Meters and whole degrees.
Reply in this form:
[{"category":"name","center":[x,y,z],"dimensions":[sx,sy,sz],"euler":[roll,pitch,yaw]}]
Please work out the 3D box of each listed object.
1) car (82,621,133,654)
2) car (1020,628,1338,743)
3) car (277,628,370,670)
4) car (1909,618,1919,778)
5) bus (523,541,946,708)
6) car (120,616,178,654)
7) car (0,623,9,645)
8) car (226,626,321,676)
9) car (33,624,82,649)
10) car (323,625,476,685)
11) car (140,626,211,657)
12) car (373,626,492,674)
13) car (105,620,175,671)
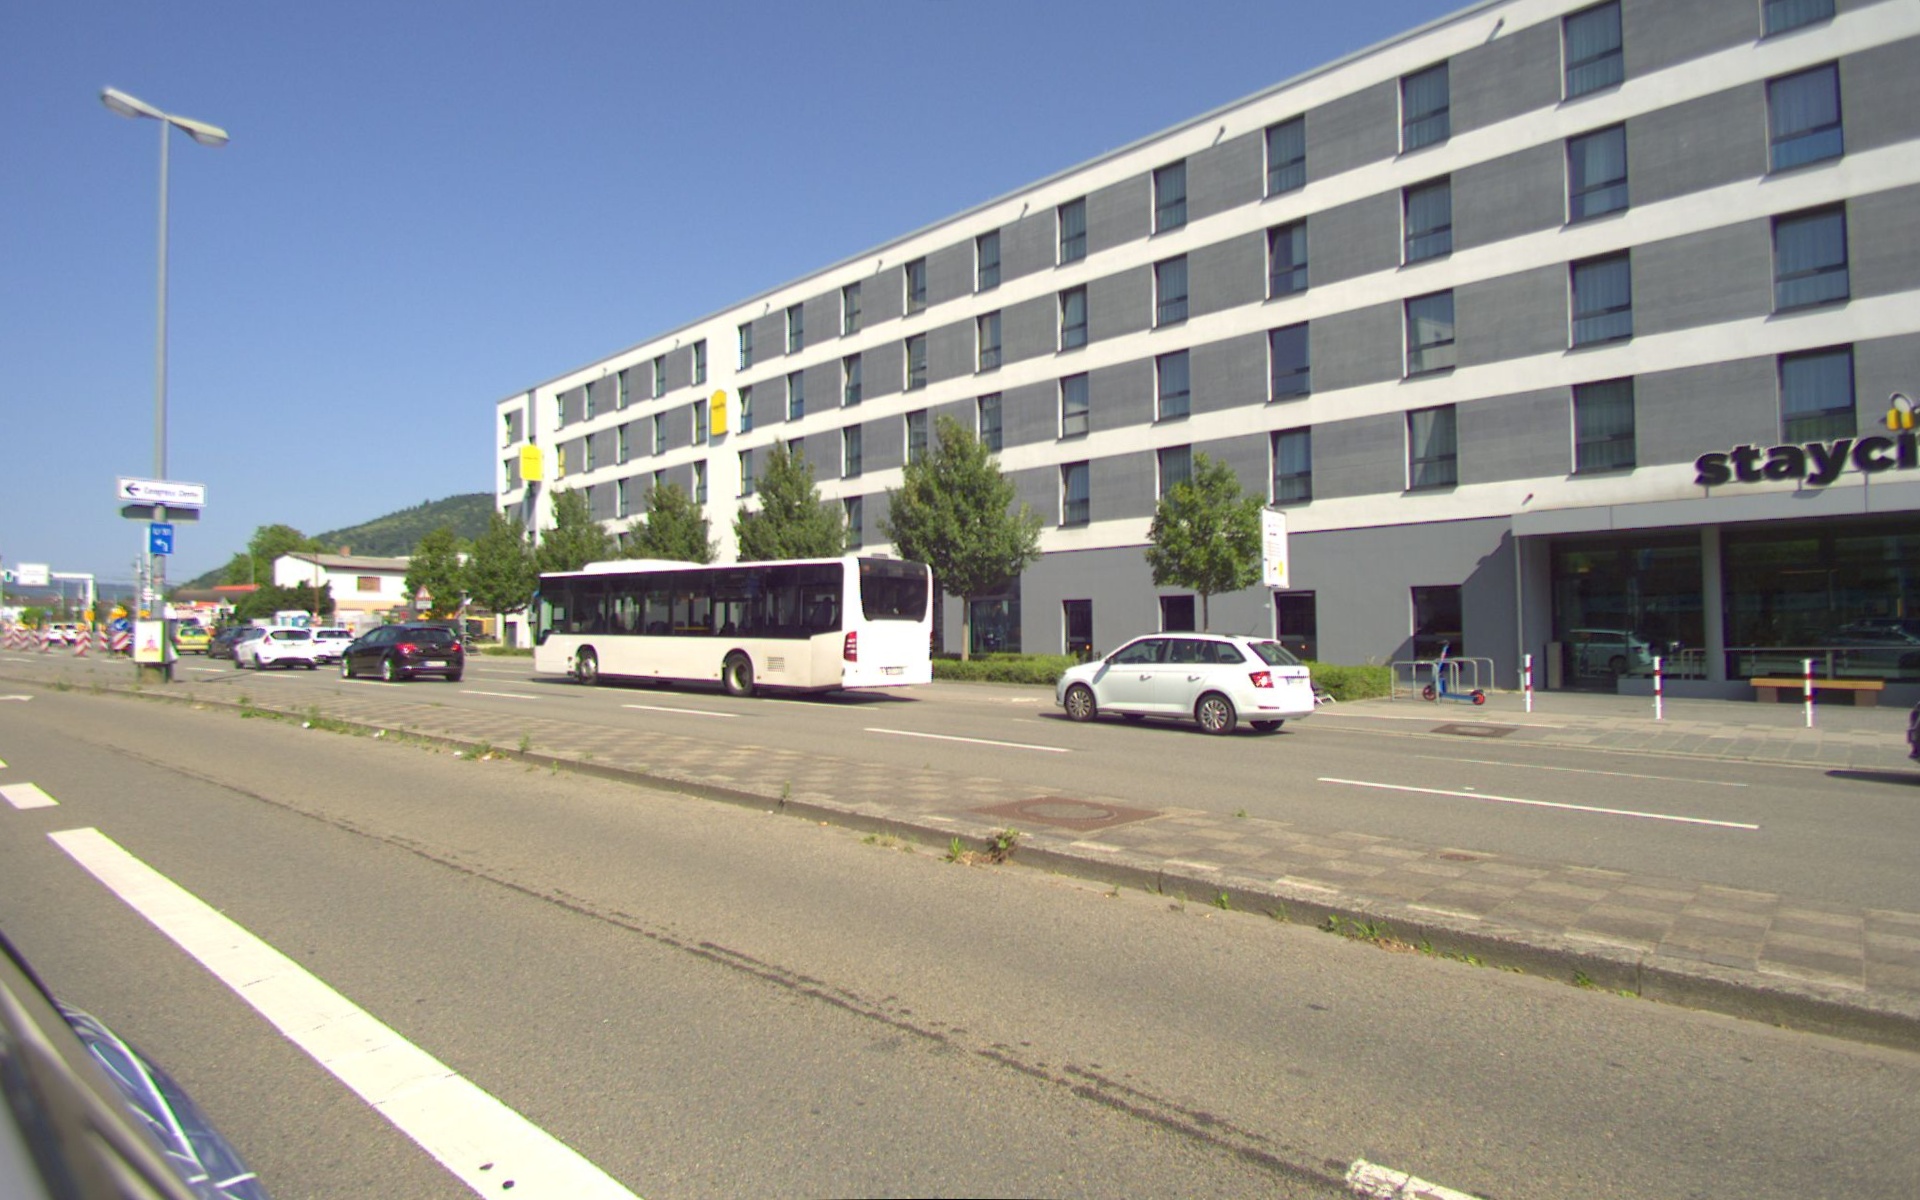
[{"category":"car","center":[-56.046,2.404,66.496],"dimensions":[3.998,2.029,1.973],"euler":[0,0,41]},{"category":"car","center":[3.325,1.221,15.678],"dimensions":[4.403,1.497,1.976],"euler":[0,-3,36]},{"category":"car","center":[-24.730,1.863,39.295],"dimensions":[3.973,1.550,1.835],"euler":[-1,-3,39]},{"category":"car","center":[11.607,0.999,9.073],"dimensions":[4.411,1.590,1.972],"euler":[-1,-5,42]},{"category":"bus","center":[-5.817,0.599,23.636],"dimensions":[11.961,3.102,2.711],"euler":[-1,-4,39]},{"category":"car","center":[-45.577,1.922,56.856],"dimensions":[4.000,2.029,1.972],"euler":[0,0,43]},{"category":"car","center":[-89.625,3.129,93.588],"dimensions":[3.996,2.029,1.973],"euler":[-1,-3,40]},{"category":"car","center":[-22.711,1.624,33.422],"dimensions":[4.000,1.462,1.740],"euler":[0,0,43]},{"category":"car","center":[-65.105,2.642,72.981],"dimensions":[4.888,1.725,1.973],"euler":[-2,-2,41]},{"category":"car","center":[-14.960,1.392,26.895],"dimensions":[4.887,1.443,1.973],"euler":[-1,-2,40]},{"category":"car","center":[-40.719,2.097,52.487],"dimensions":[4.888,1.534,1.973],"euler":[-1,-2,41]},{"category":"car","center":[-18.097,1.659,34.606],"dimensions":[4.888,1.534,1.973],"euler":[-1,-2,41]},{"category":"car","center":[-35.466,1.903,43.735],"dimensions":[4.162,2.029,1.658],"euler":[0,0,41]}]
